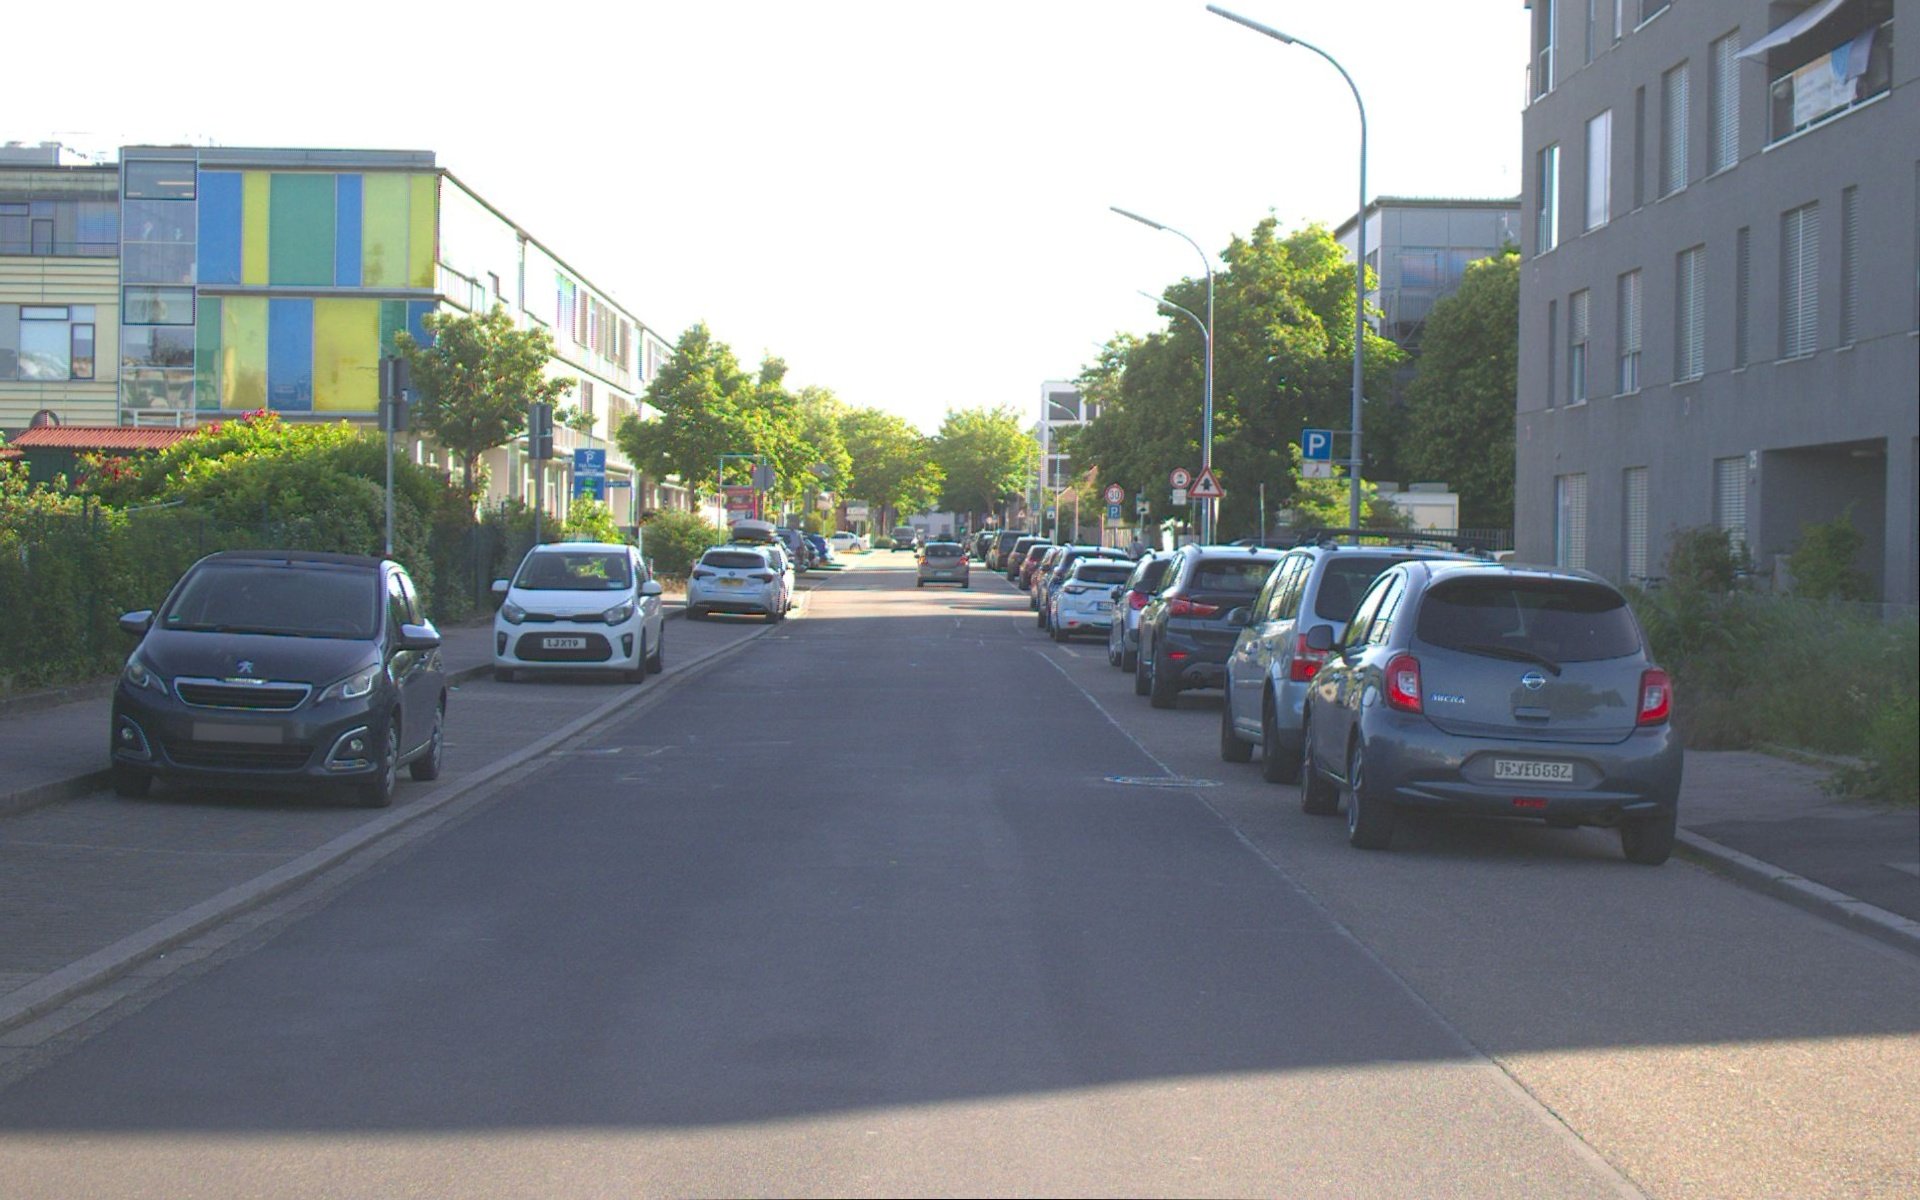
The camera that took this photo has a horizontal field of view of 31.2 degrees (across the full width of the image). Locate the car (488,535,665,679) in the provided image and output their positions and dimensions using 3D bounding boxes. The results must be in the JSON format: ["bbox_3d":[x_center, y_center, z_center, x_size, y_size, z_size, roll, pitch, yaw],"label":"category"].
[{"bbox_3d":[-4.187,0.044,37.996,1.559,1.489,3.759,1,1,-1],"label":"car"}]

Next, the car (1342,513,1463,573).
[{"bbox_3d":[12.517,-1.606,97.273,3.216,1.544,1.450,3,1,3],"label":"car"}]

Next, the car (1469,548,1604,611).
[{"bbox_3d":[14.854,-0.543,88.679,3.216,1.455,1.450,3,1,3],"label":"car"}]

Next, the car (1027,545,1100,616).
[{"bbox_3d":[2.424,-0.478,80.857,1.445,1.544,3.614,3,1,-1],"label":"car"}]

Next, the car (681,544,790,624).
[{"bbox_3d":[-4.358,-0.343,67.302,1.854,1.423,4.134,3,1,-1],"label":"car"}]

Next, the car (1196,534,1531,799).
[{"bbox_3d":[2.733,0.396,24.140,1.676,1.603,4.179,3,1,-1],"label":"car"}]

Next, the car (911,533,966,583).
[{"bbox_3d":[-0.720,-1.387,112.906,1.689,1.544,3.614,3,1,-1],"label":"car"}]

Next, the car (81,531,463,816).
[{"bbox_3d":[-4.096,0.384,20.952,1.559,1.489,3.571,4,1,-1],"label":"car"}]

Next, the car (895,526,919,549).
[{"bbox_3d":[-3.876,-4.600,252.936,1.664,1.544,3.902,3,1,-1],"label":"car"}]

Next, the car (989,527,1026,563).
[{"bbox_3d":[2.143,-2.480,154.469,1.445,1.544,3.614,3,1,-1],"label":"car"}]

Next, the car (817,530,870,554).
[{"bbox_3d":[-8.222,-4.085,241.901,3.601,1.544,1.450,3,1,-5],"label":"car"}]

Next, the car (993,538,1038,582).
[{"bbox_3d":[2.077,-1.505,129.069,1.445,1.544,3.614,3,1,-1],"label":"car"}]

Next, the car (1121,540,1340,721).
[{"bbox_3d":[2.649,0.258,34.500,1.741,1.619,4.179,3,1,-1],"label":"car"}]

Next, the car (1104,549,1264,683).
[{"bbox_3d":[2.787,0.167,43.496,1.657,1.546,3.851,3,1,-1],"label":"car"}]

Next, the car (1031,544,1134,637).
[{"bbox_3d":[2.270,-0.198,64.447,1.632,1.625,3.614,3,1,-1],"label":"car"}]

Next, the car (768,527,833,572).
[{"bbox_3d":[-5.853,-1.857,126.609,1.855,1.558,4.133,3,1,4],"label":"car"}]

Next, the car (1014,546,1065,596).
[{"bbox_3d":[2.600,-0.952,113.071,1.445,1.544,3.614,3,1,-1],"label":"car"}]

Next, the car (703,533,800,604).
[{"bbox_3d":[-4.513,-0.698,74.875,1.854,1.423,4.134,3,1,-1],"label":"car"}]

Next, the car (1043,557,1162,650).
[{"bbox_3d":[2.383,0.037,58.440,1.741,1.423,4.134,3,1,-1],"label":"car"}]

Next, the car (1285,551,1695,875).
[{"bbox_3d":[2.838,0.538,19.166,1.622,1.521,3.901,4,1,0],"label":"car"}]
